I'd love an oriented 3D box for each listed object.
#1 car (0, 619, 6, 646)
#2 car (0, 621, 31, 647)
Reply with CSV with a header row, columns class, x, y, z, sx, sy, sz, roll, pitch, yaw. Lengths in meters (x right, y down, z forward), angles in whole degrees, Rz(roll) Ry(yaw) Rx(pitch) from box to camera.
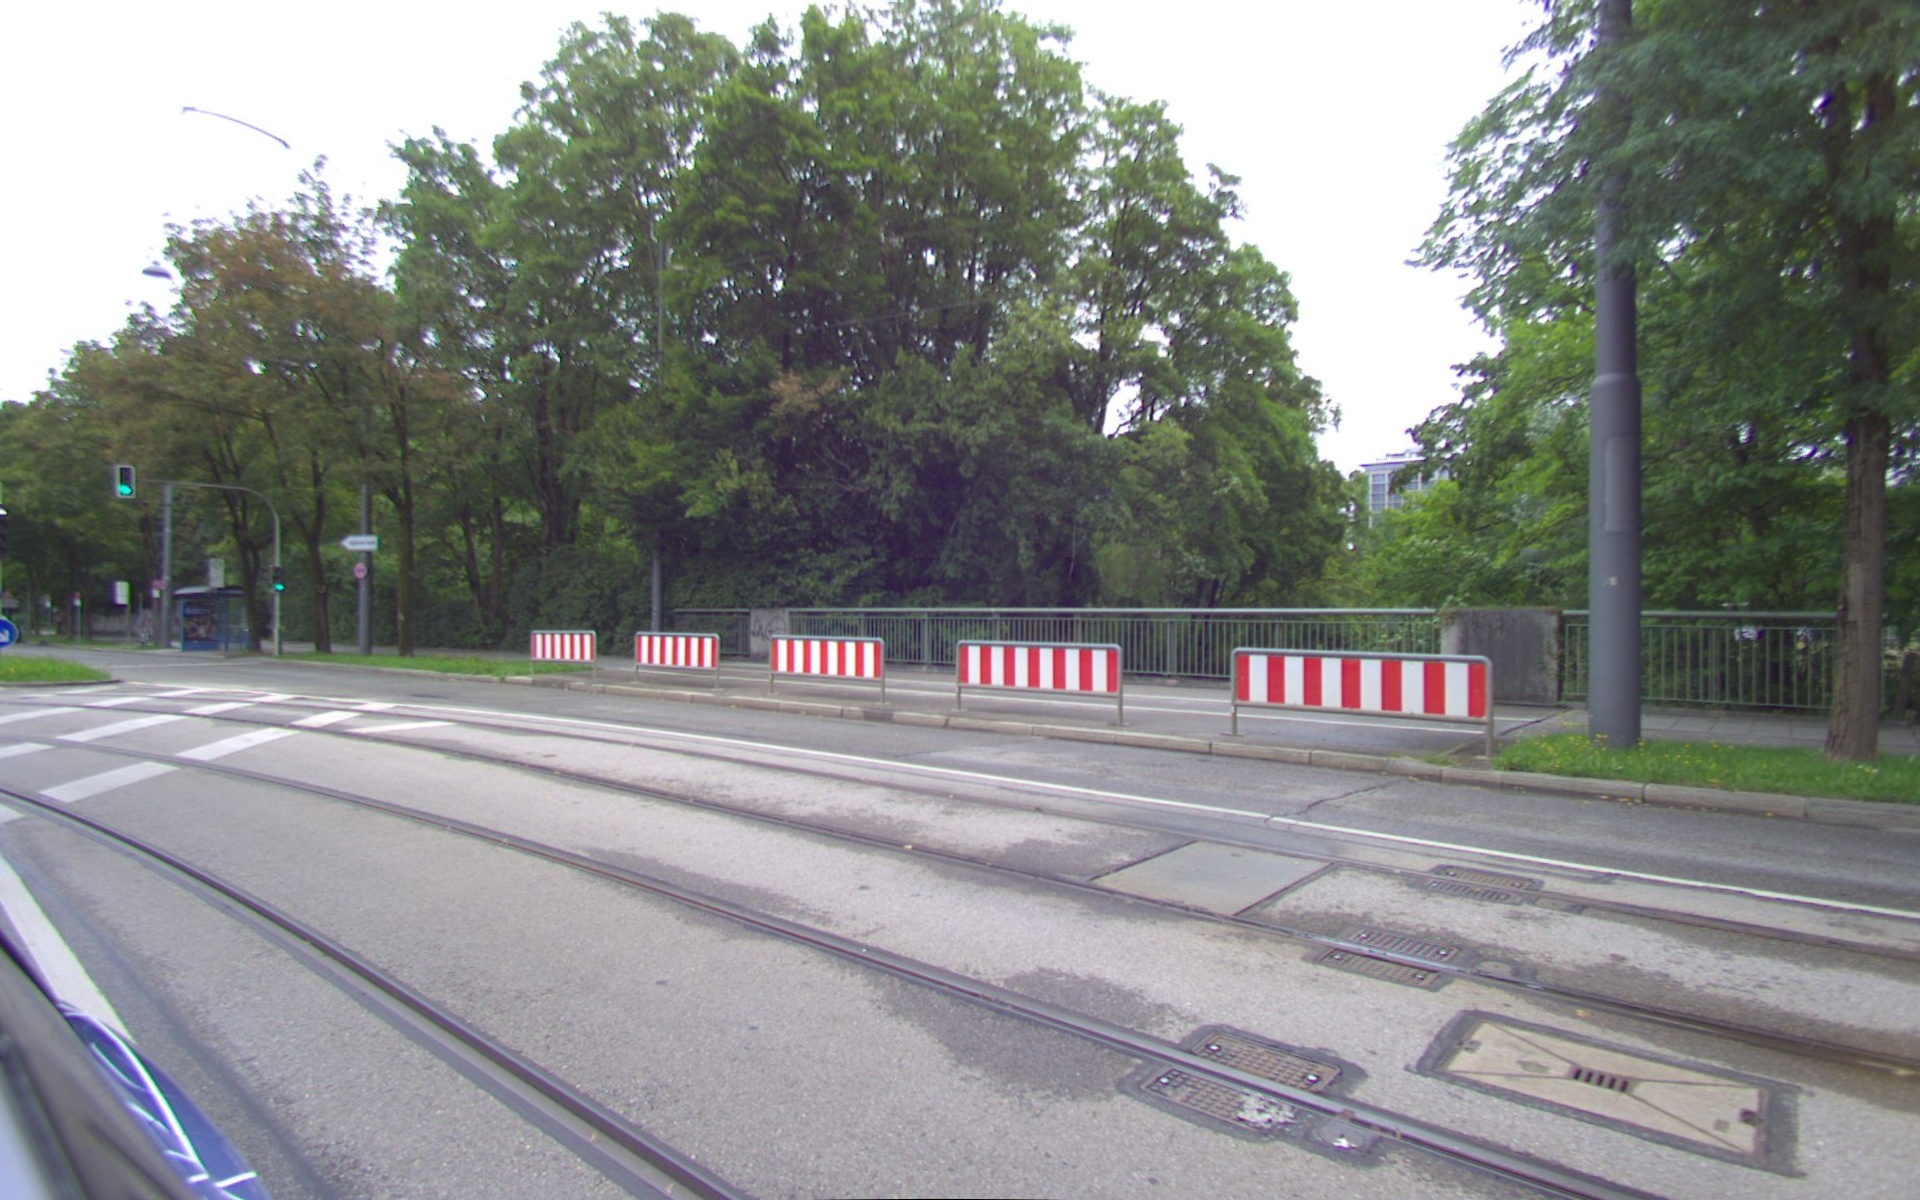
class,x,y,z,sx,sy,sz,roll,pitch,yaw
car,-66.548,2.227,68.875,3.996,1.739,1.864,0,1,40
car,-61.984,2.215,65.764,3.998,1.552,1.864,0,1,41
